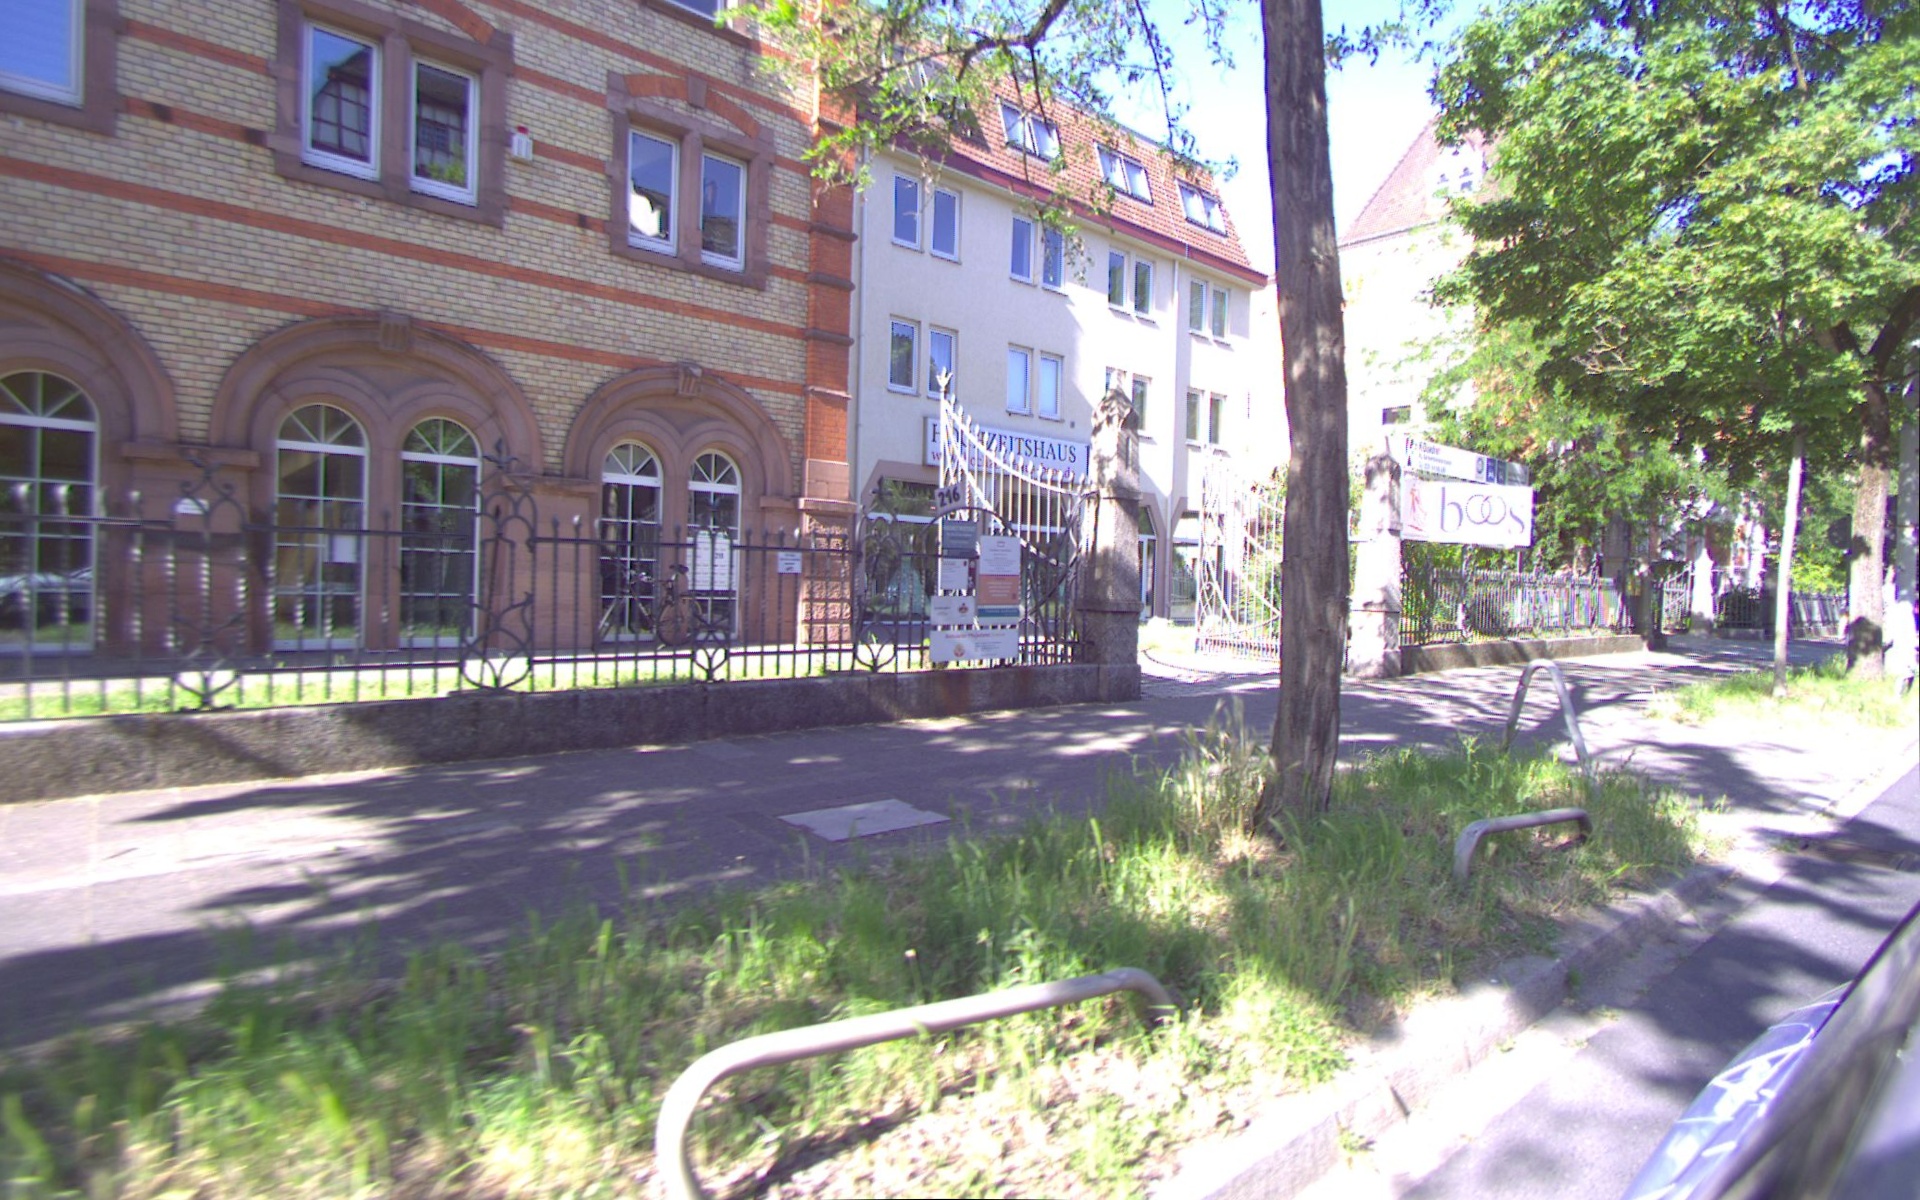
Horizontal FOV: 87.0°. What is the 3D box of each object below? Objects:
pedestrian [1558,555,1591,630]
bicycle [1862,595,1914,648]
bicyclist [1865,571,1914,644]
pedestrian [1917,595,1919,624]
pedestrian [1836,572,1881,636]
[{"bbox_3d":[15.163,-0.184,24.980,0.527,1.800,0.539,3,2,23],"label":"pedestrian"},{"bbox_3d":[22.936,0.521,25.013,1.811,1.190,0.654,1,5,-41],"label":"bicycle"},{"bbox_3d":[22.972,0.185,25.001,0.873,1.715,0.647,2,4,-40],"label":"bicyclist"},{"bbox_3d":[40.198,0.192,41.870,0.806,1.678,0.696,0,5,-41],"label":"pedestrian"},{"bbox_3d":[26.860,0.112,30.257,0.796,1.808,0.750,1,4,-40],"label":"pedestrian"}]
